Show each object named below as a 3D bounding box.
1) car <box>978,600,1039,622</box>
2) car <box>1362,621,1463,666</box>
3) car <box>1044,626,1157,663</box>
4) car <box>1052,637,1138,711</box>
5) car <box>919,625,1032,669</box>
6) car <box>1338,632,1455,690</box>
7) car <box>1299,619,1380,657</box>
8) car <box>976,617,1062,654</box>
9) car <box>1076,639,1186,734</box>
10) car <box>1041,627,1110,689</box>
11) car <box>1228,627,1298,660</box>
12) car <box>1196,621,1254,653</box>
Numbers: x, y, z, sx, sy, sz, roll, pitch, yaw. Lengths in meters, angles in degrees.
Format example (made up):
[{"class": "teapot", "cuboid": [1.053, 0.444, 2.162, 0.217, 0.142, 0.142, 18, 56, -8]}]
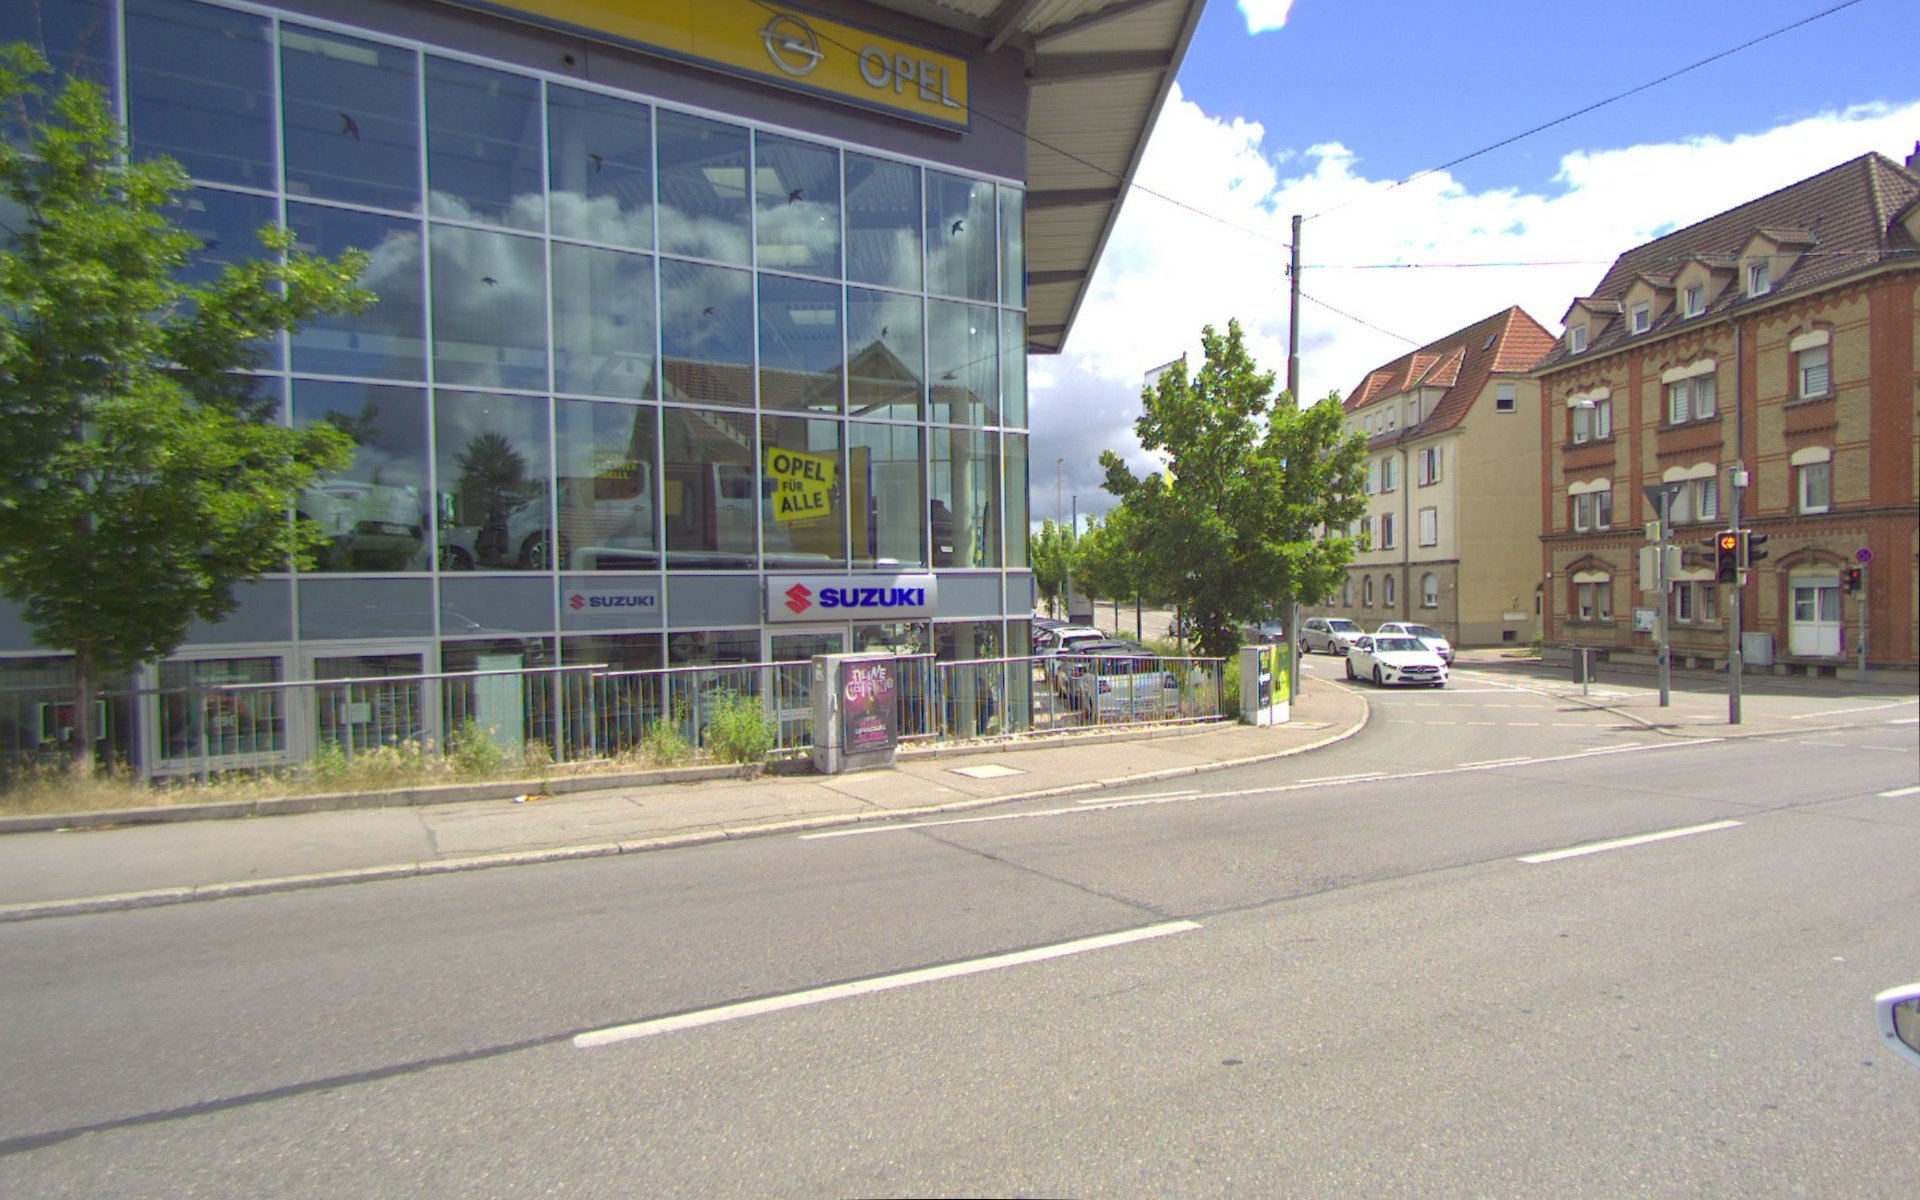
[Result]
[{"class": "car", "cuboid": [3.198, 0.716, 66.237, 3.921, 1.311, 1.818, 1, -1, 0]}, {"class": "car", "cuboid": [17.060, 1.610, 38.076, 1.670, 1.517, 3.995, 1, -1, -7]}, {"class": "car", "cuboid": [5.164, 1.634, 37.198, 3.921, 1.202, 1.818, 1, -1, 0]}, {"class": "car", "cuboid": [3.229, 1.754, 24.687, 1.487, 1.543, 3.792, 1, -1, -2]}, {"class": "car", "cuboid": [0.588, 1.712, 37.213, 3.919, 1.478, 1.605, 1, -1, 15]}, {"class": "car", "cuboid": [12.367, 1.685, 28.762, 1.825, 1.466, 4.394, 1, -1, 6]}, {"class": "car", "cuboid": [16.733, 1.644, 44.501, 1.715, 1.539, 3.996, 1, -1, -7]}, {"class": "car", "cuboid": [2.645, 1.587, 45.856, 1.974, 1.599, 4.476, 1, -1, -26]}, {"class": "car", "cuboid": [3.393, 1.688, 20.538, 1.720, 1.596, 3.687, 2, -1, 2]}, {"class": "car", "cuboid": [3.278, 1.633, 29.081, 1.487, 1.596, 3.414, 1, -1, -2]}, {"class": "car", "cuboid": [15.330, 2.187, 51.007, 1.963, 1.539, 3.996, 1, -1, -7]}, {"class": "car", "cuboid": [14.795, 2.056, 56.370, 1.961, 1.607, 4.345, 1, 0, -2]}]
